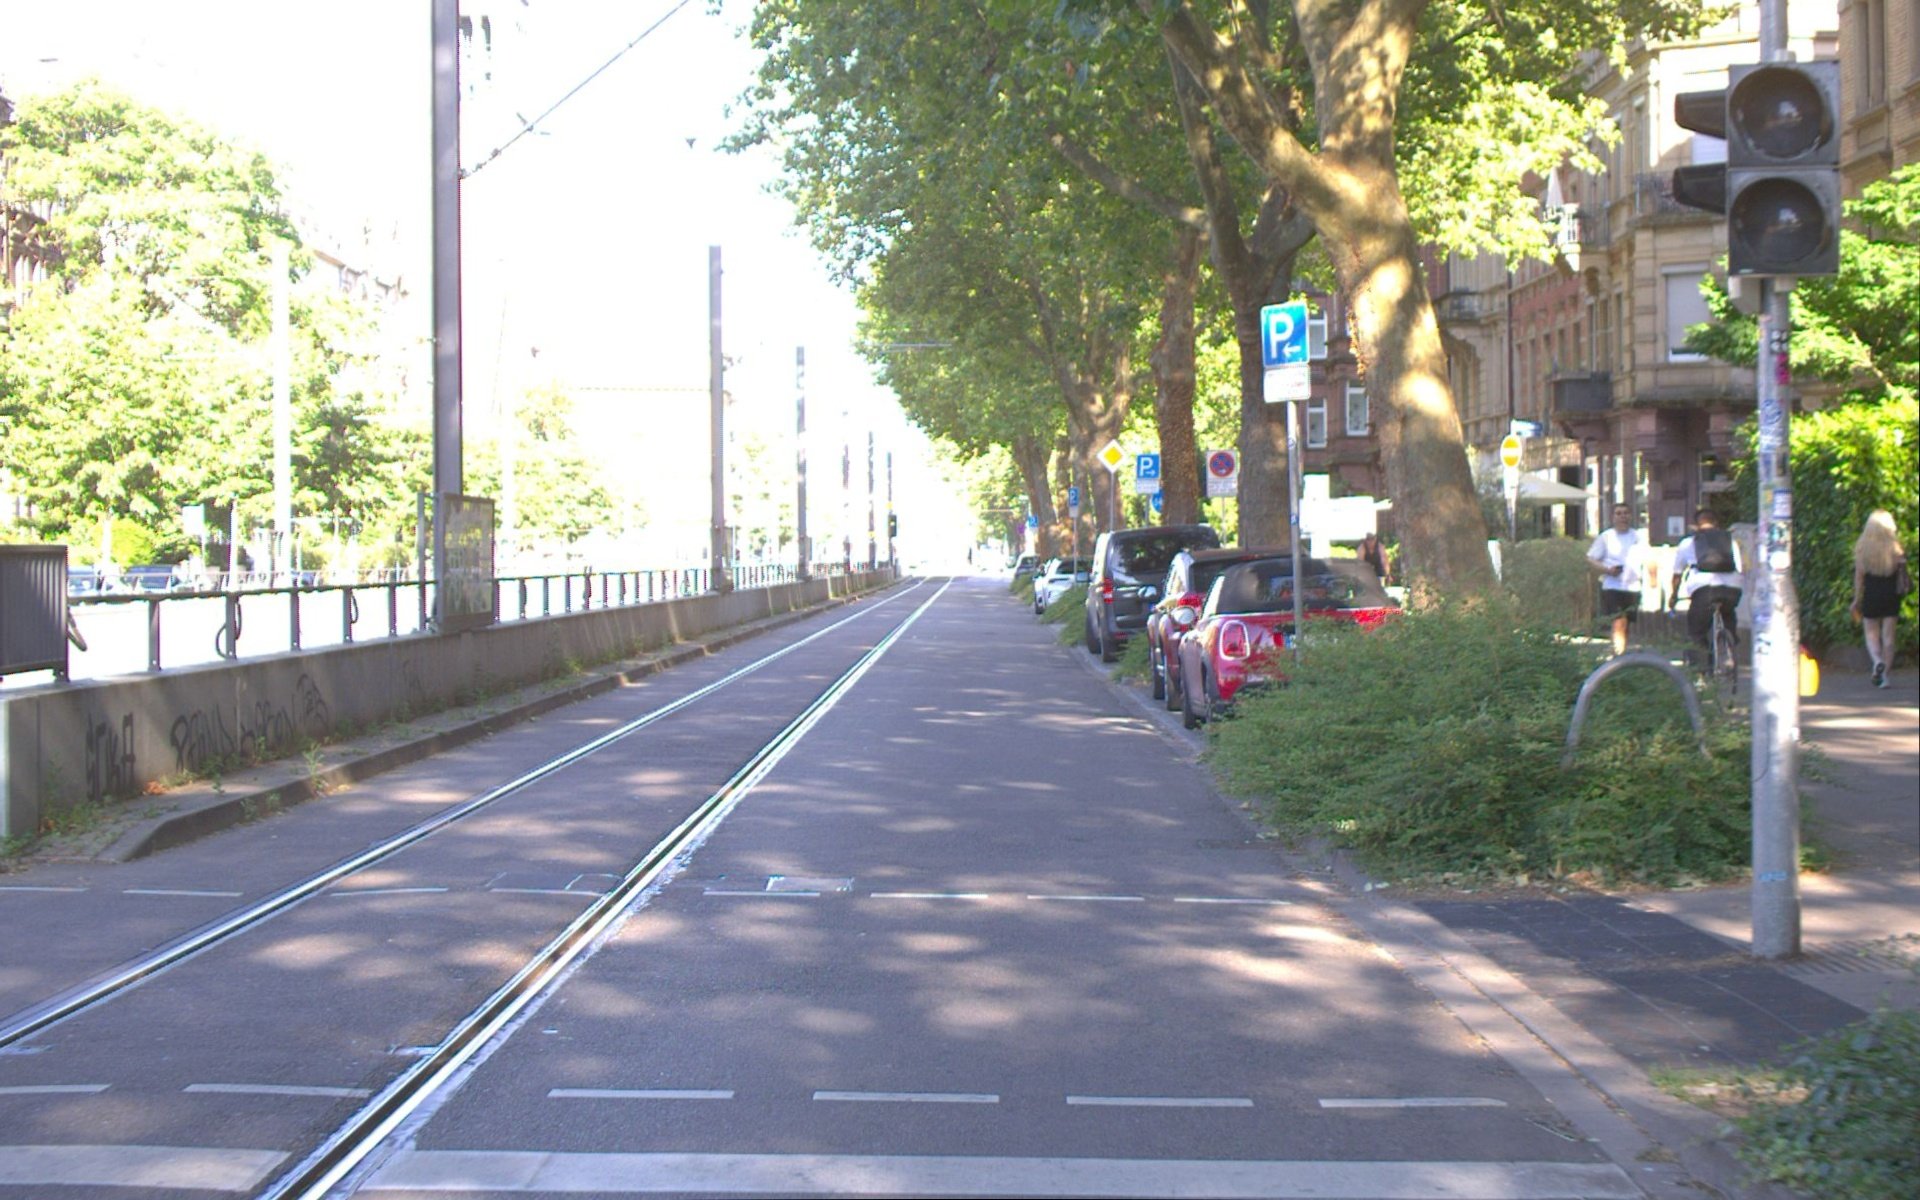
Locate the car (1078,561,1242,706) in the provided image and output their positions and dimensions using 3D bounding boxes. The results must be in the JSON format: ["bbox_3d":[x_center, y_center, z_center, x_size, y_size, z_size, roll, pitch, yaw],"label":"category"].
[{"bbox_3d":[2.882,0.460,50.574,1.993,2.007,5.202,0,0,-1],"label":"car"}]

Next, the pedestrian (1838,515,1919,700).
[{"bbox_3d":[8.172,0.062,30.599,0.530,1.622,0.617,-1,1,1],"label":"pedestrian"}]

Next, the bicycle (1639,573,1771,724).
[{"bbox_3d":[6.067,0.371,28.105,0.560,1.174,2.226,0,1,-1],"label":"bicycle"}]

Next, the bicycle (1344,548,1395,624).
[{"bbox_3d":[6.656,-0.220,55.902,0.560,1.174,2.021,1,-1,0],"label":"bicycle"}]

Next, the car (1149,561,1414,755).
[{"bbox_3d":[2.590,0.491,28.492,1.714,1.457,4.000,2,-1,-1],"label":"car"}]

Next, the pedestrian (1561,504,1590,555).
[{"bbox_3d":[13.844,-1.590,77.327,0.556,1.134,0.526,0,-1,0],"label":"pedestrian"}]

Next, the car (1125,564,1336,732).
[{"bbox_3d":[2.636,0.489,34.336,1.714,1.544,4.500,-1,-1,0],"label":"car"}]

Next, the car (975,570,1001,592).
[{"bbox_3d":[2.049,-1.377,250.639,1.745,1.457,3.644,3,0,0],"label":"car"}]

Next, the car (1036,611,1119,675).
[{"bbox_3d":[2.807,1.031,82.896,1.802,1.472,4.646,1,-1,0],"label":"car"}]

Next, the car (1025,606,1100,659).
[{"bbox_3d":[2.608,0.830,88.123,1.830,1.322,4.000,0,-1,0],"label":"car"}]

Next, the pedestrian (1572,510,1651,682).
[{"bbox_3d":[6.802,-0.045,35.919,0.688,1.779,0.644,0,1,-1],"label":"pedestrian"}]

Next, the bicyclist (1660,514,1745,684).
[{"bbox_3d":[6.060,-0.014,28.089,0.543,1.376,0.644,0,1,-1],"label":"bicyclist"}]

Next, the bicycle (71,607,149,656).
[{"bbox_3d":[-22.049,0.821,89.173,1.808,1.174,0.562,3,0,3],"label":"bicycle"}]
